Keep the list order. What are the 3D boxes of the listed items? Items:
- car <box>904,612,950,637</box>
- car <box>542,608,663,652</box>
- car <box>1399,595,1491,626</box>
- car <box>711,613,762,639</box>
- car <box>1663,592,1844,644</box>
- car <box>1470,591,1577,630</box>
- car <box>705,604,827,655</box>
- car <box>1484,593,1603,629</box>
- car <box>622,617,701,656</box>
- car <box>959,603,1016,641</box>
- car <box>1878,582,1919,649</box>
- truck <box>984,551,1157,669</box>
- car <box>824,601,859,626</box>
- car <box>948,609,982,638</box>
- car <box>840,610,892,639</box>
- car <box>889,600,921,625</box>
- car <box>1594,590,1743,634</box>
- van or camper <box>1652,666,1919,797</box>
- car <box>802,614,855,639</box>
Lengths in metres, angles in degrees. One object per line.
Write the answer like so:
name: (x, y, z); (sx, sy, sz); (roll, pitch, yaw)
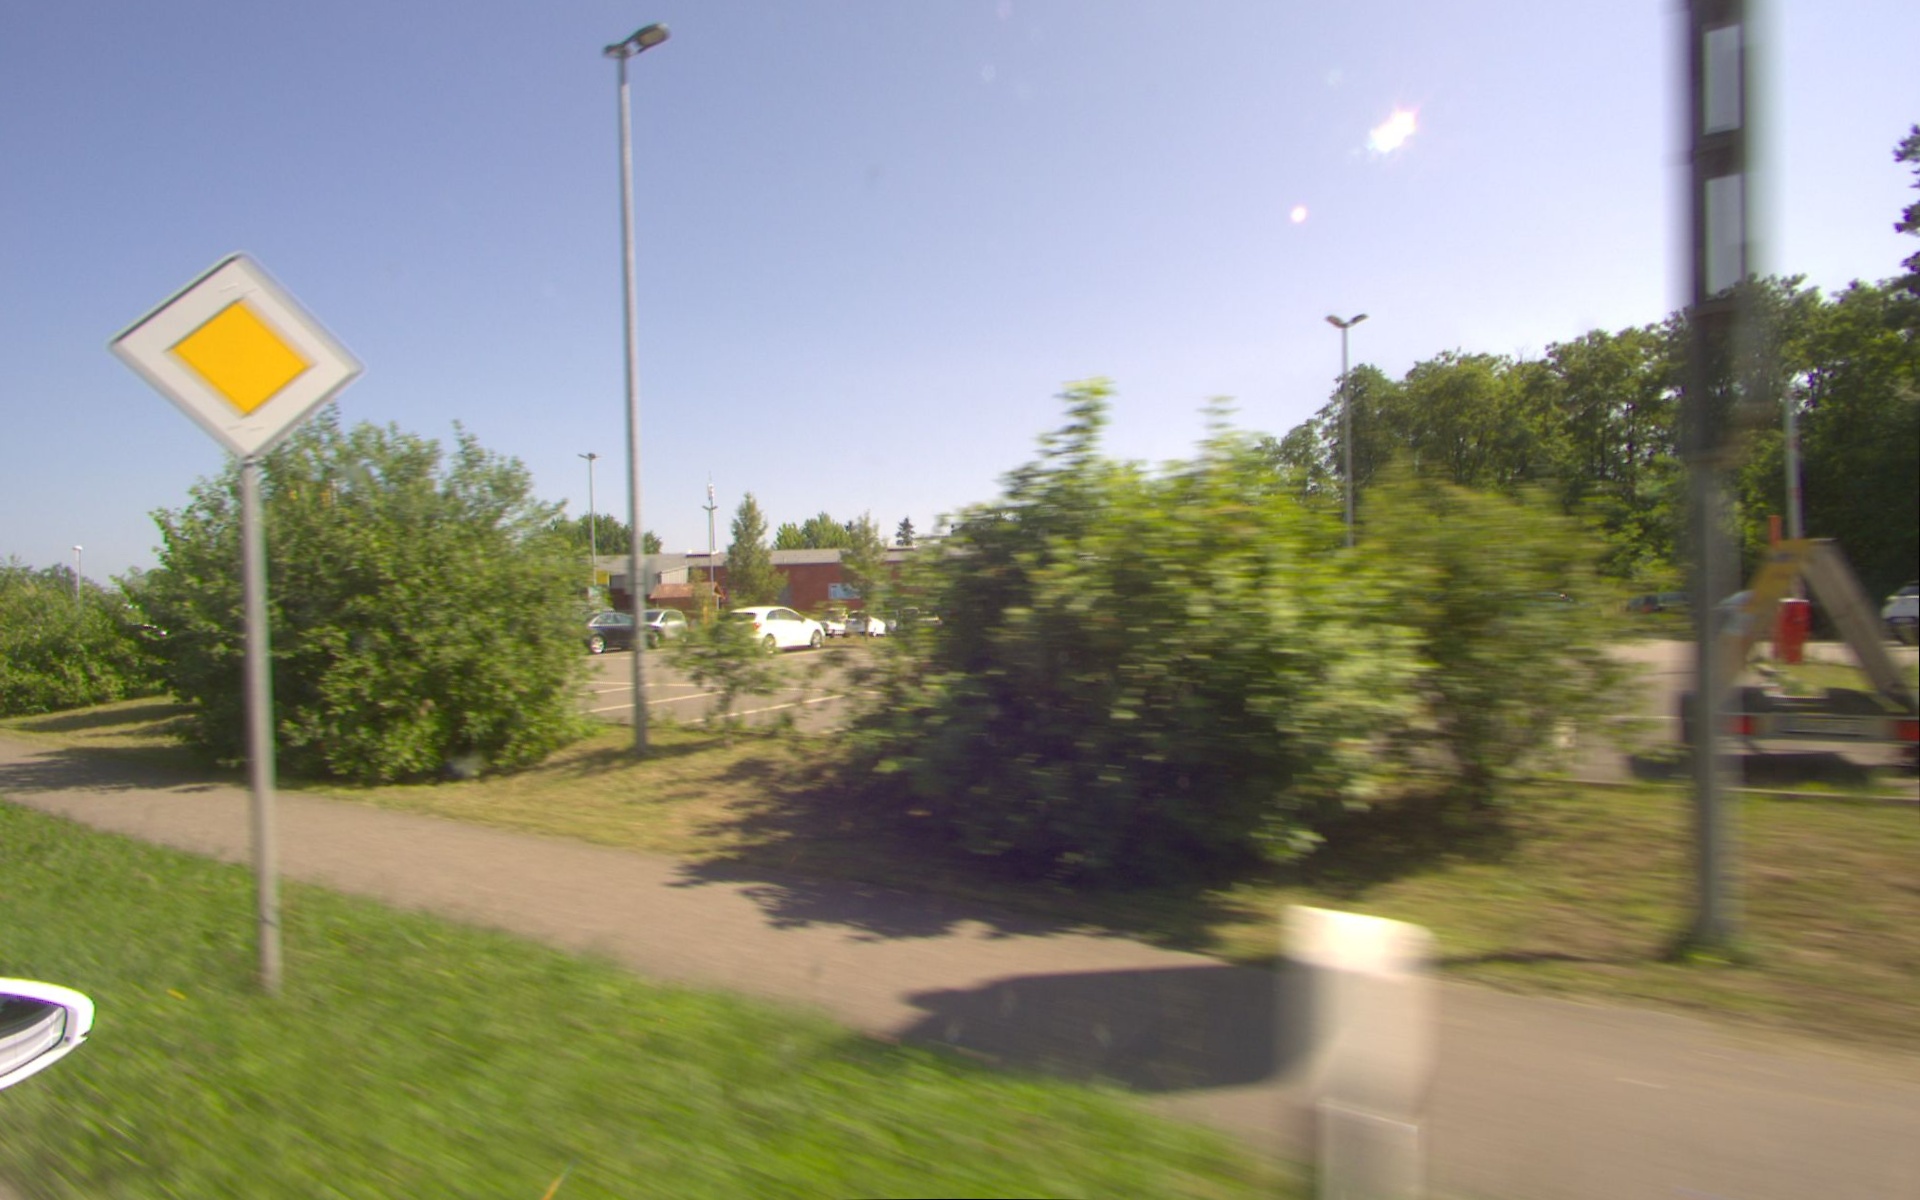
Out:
car: (-1.922, 1.415, 59.388); (1.855, 1.416, 3.998); (-1, -1, 11)
car: (-12.632, 1.028, 35.582); (1.721, 1.446, 3.986); (-1, 0, 26)
car: (26.697, 0.557, 55.216); (4.178, 1.617, 1.795); (-1, 0, 6)
car: (-13.383, 1.556, 60.221); (1.930, 1.505, 4.000); (0, 0, 4)
car: (24.837, 0.557, 31.483); (3.923, 1.506, 2.071); (-1, 0, 7)
car: (26.726, 0.499, 47.595); (3.923, 1.734, 2.071); (-1, 0, 7)
car: (-5.996, 0.875, 31.415); (1.872, 1.472, 3.963); (-1, 0, 23)
car: (26.061, 0.480, 44.854); (4.289, 1.506, 1.662); (-1, 0, 7)
car: (-14.021, 1.750, 47.255); (1.961, 1.723, 4.562); (-1, -2, 6)
car: (1.292, 0.958, 44.658); (1.933, 1.605, 3.998); (-1, 0, 11)
car: (23.850, 0.326, 23.087); (3.594, 1.551, 1.759); (-1, 0, 6)
truck: (2.973, 0.225, 25.449); (2.171, 2.640, 5.587); (-1, 0, 32)
car: (-8.991, 1.003, 76.092); (1.961, 1.840, 4.000); (-1, 0, 3)
car: (0.365, 1.501, 64.621); (1.770, 1.781, 3.999); (-1, 0, 7)
car: (-5.492, 1.423, 59.180); (1.962, 1.684, 3.997); (0, 0, 12)
car: (-4.140, 0.962, 76.157); (1.961, 1.840, 4.000); (-1, 0, 3)
car: (25.768, 0.427, 36.553); (3.923, 1.506, 2.071); (-1, 0, 7)
van or camper: (7.192, 1.052, 8.762); (1.790, 0.622, 3.084); (0, 2, 33)
car: (-7.860, 1.567, 60.081); (1.962, 1.372, 3.997); (-1, 0, 11)
